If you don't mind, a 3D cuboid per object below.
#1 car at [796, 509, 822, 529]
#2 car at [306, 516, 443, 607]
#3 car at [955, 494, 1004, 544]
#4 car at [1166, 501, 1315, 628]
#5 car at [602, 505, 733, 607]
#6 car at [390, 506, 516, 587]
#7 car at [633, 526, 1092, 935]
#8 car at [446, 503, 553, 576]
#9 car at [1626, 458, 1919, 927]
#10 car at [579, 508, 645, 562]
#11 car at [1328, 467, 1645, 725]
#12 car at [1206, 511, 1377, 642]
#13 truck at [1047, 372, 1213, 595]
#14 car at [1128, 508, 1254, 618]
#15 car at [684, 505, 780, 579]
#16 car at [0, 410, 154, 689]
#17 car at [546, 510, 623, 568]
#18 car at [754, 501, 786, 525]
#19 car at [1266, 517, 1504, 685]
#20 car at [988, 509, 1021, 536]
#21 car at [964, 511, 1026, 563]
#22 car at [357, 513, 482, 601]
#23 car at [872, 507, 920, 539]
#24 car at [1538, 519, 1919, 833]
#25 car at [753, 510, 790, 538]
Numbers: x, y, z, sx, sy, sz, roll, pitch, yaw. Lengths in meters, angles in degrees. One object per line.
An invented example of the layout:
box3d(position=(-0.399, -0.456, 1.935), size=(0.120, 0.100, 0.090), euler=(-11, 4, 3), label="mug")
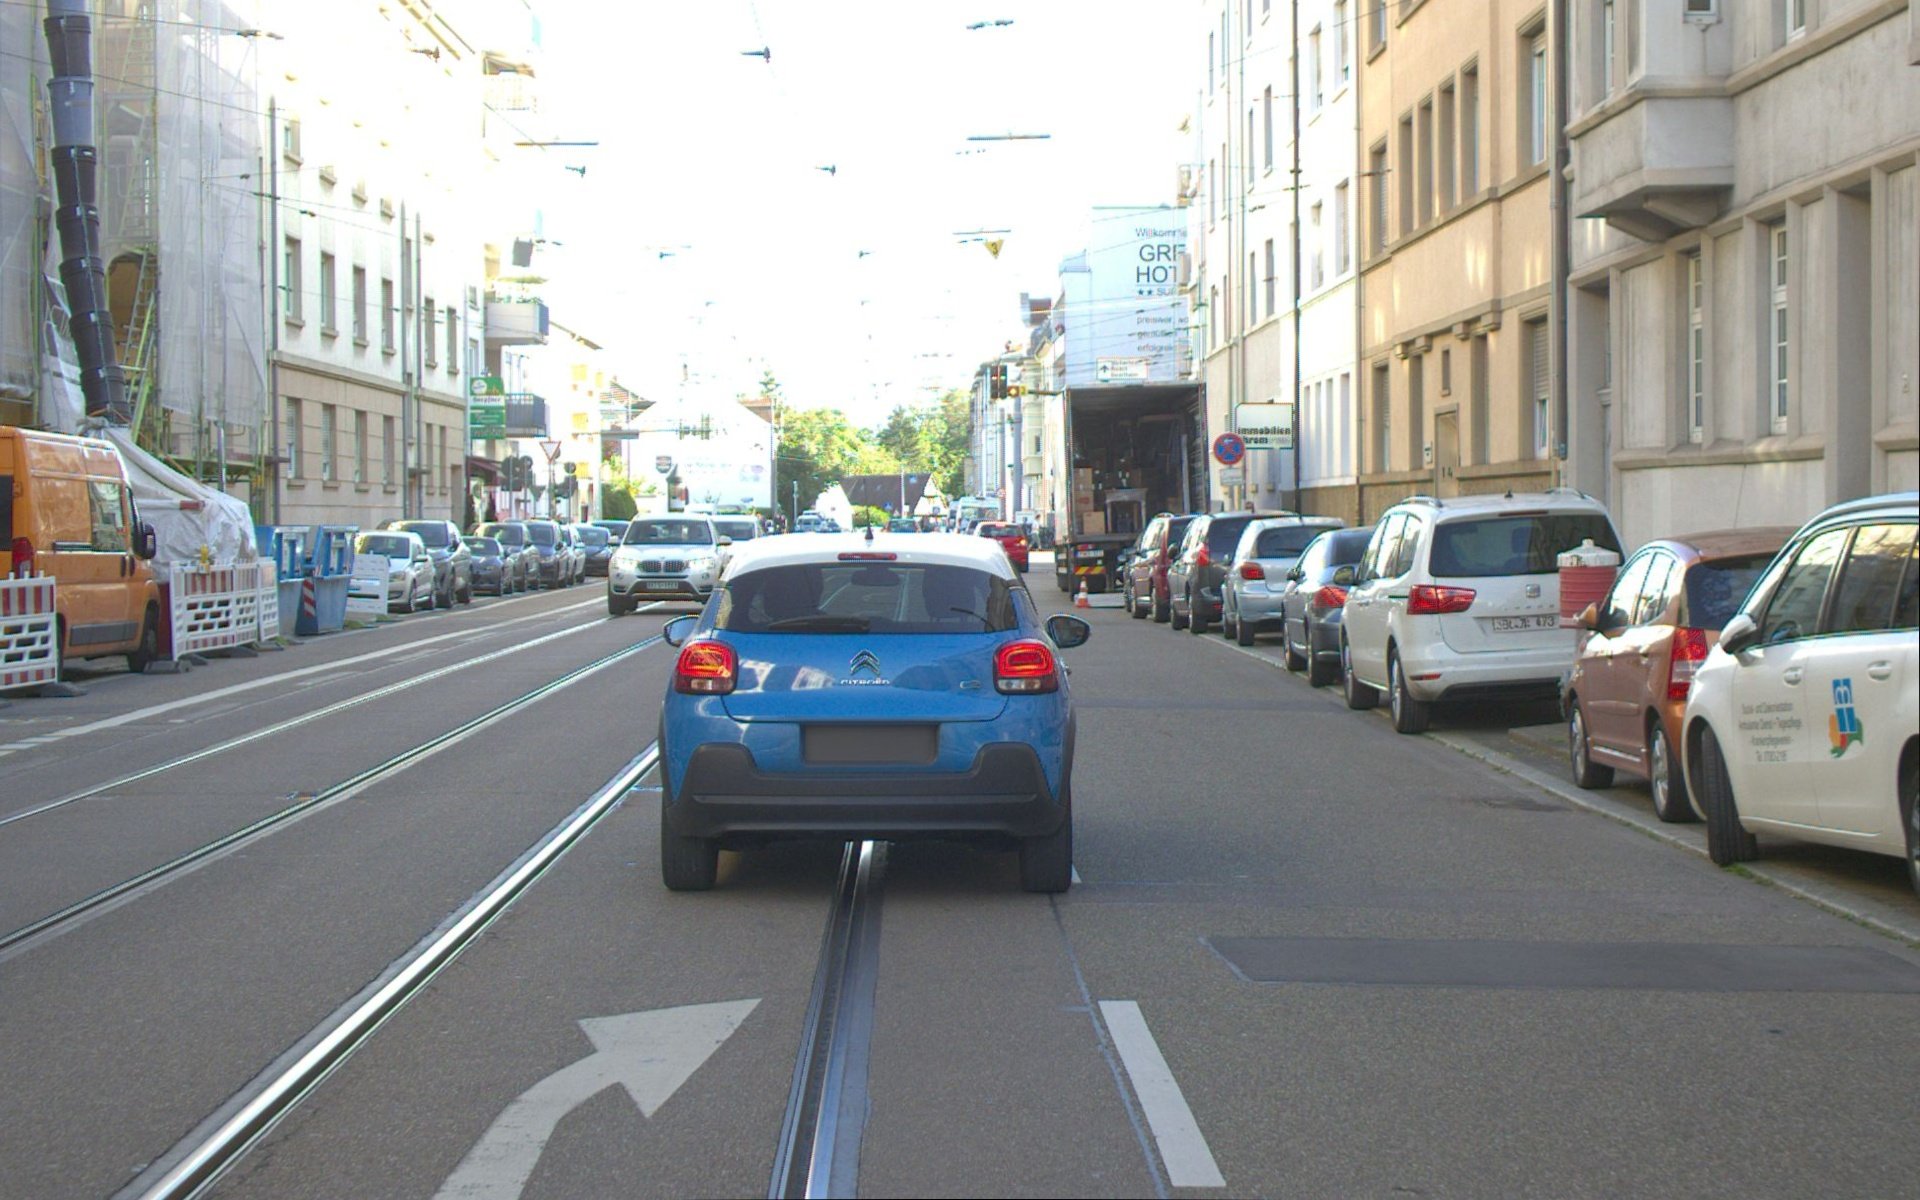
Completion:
box3d(position=(-11.431, -6.094, 259.914), size=(1.765, 1.481, 4.032), euler=(0, 2, 0), label="car")
box3d(position=(-10.277, -0.703, 60.592), size=(1.714, 1.512, 4.048), euler=(0, 2, 0), label="car")
box3d(position=(0.912, -3.807, 160.902), size=(2.220, 2.276, 4.084), euler=(0, 1, 0), label="car")
box3d(position=(3.796, -0.521, 47.043), size=(1.664, 1.641, 4.222), euler=(0, 2, 0), label="car")
box3d(position=(-4.881, -0.767, 57.805), size=(1.826, 1.626, 4.491), euler=(0, 2, 0), label="car")
box3d(position=(-10.797, -1.164, 73.436), size=(2.144, 1.616, 4.001), euler=(-1, 2, -1), label="car")
box3d(position=(-0.391, 0.464, 15.284), size=(1.735, 1.502, 3.993), euler=(2, 2, 0), label="car")
box3d(position=(-10.570, -1.419, 79.207), size=(1.826, 1.626, 4.849), euler=(0, 2, 0), label="car")
box3d(position=(4.259, 0.295, 14.470), size=(1.654, 1.746, 4.604), euler=(-1, 2, -5), label="car")
box3d(position=(-10.661, -2.011, 105.479), size=(1.826, 1.626, 3.906), euler=(-1, 2, -3), label="car")
box3d(position=(4.003, -0.090, 26.852), size=(1.730, 1.821, 4.687), euler=(0, 2, 0), label="car")
box3d(position=(4.020, -0.332, 42.202), size=(1.664, 1.514, 4.222), euler=(0, 2, 0), label="car")
box3d(position=(3.264, -2.281, 68.729), size=(2.853, 4.069, 11.271), euler=(0, 2, 1), label="truck")
box3d(position=(3.529, -0.600, 53.063), size=(1.664, 1.627, 3.871), euler=(0, 1, 0), label="car")
box3d(position=(-5.163, -1.344, 78.336), size=(1.901, 1.626, 4.267), euler=(0, 2, 0), label="car")
box3d(position=(-9.265, -0.526, 32.882), size=(2.144, 2.467, 4.981), euler=(0, 2, -3), label="car")
box3d(position=(-10.825, -1.780, 99.279), size=(1.826, 1.626, 3.906), euler=(0, 2, -1), label="car")
box3d(position=(-11.961, -5.452, 216.362), size=(1.765, 1.481, 4.032), euler=(0, 2, 0), label="car")
box3d(position=(3.981, -0.043, 32.818), size=(1.722, 1.481, 4.222), euler=(0, 2, 0), label="car")
box3d(position=(2.448, -4.286, 189.919), size=(1.765, 1.481, 4.032), euler=(0, 2, 0), label="car")
box3d(position=(1.030, -1.892, 102.006), size=(1.765, 1.481, 4.032), euler=(0, 2, 0), label="car")
box3d(position=(-10.257, -0.846, 65.461), size=(1.714, 1.588, 4.267), euler=(0, 2, 0), label="car")
box3d(position=(-2.940, -3.556, 158.531), size=(2.180, 1.481, 4.160), euler=(0, 2, 0), label="car")
box3d(position=(4.326, 0.339, 19.068), size=(1.614, 1.555, 3.600), euler=(0, 1, 0), label="car")
box3d(position=(-10.121, -4.079, 184.736), size=(1.765, 1.481, 4.032), euler=(0, 2, 0), label="car")
